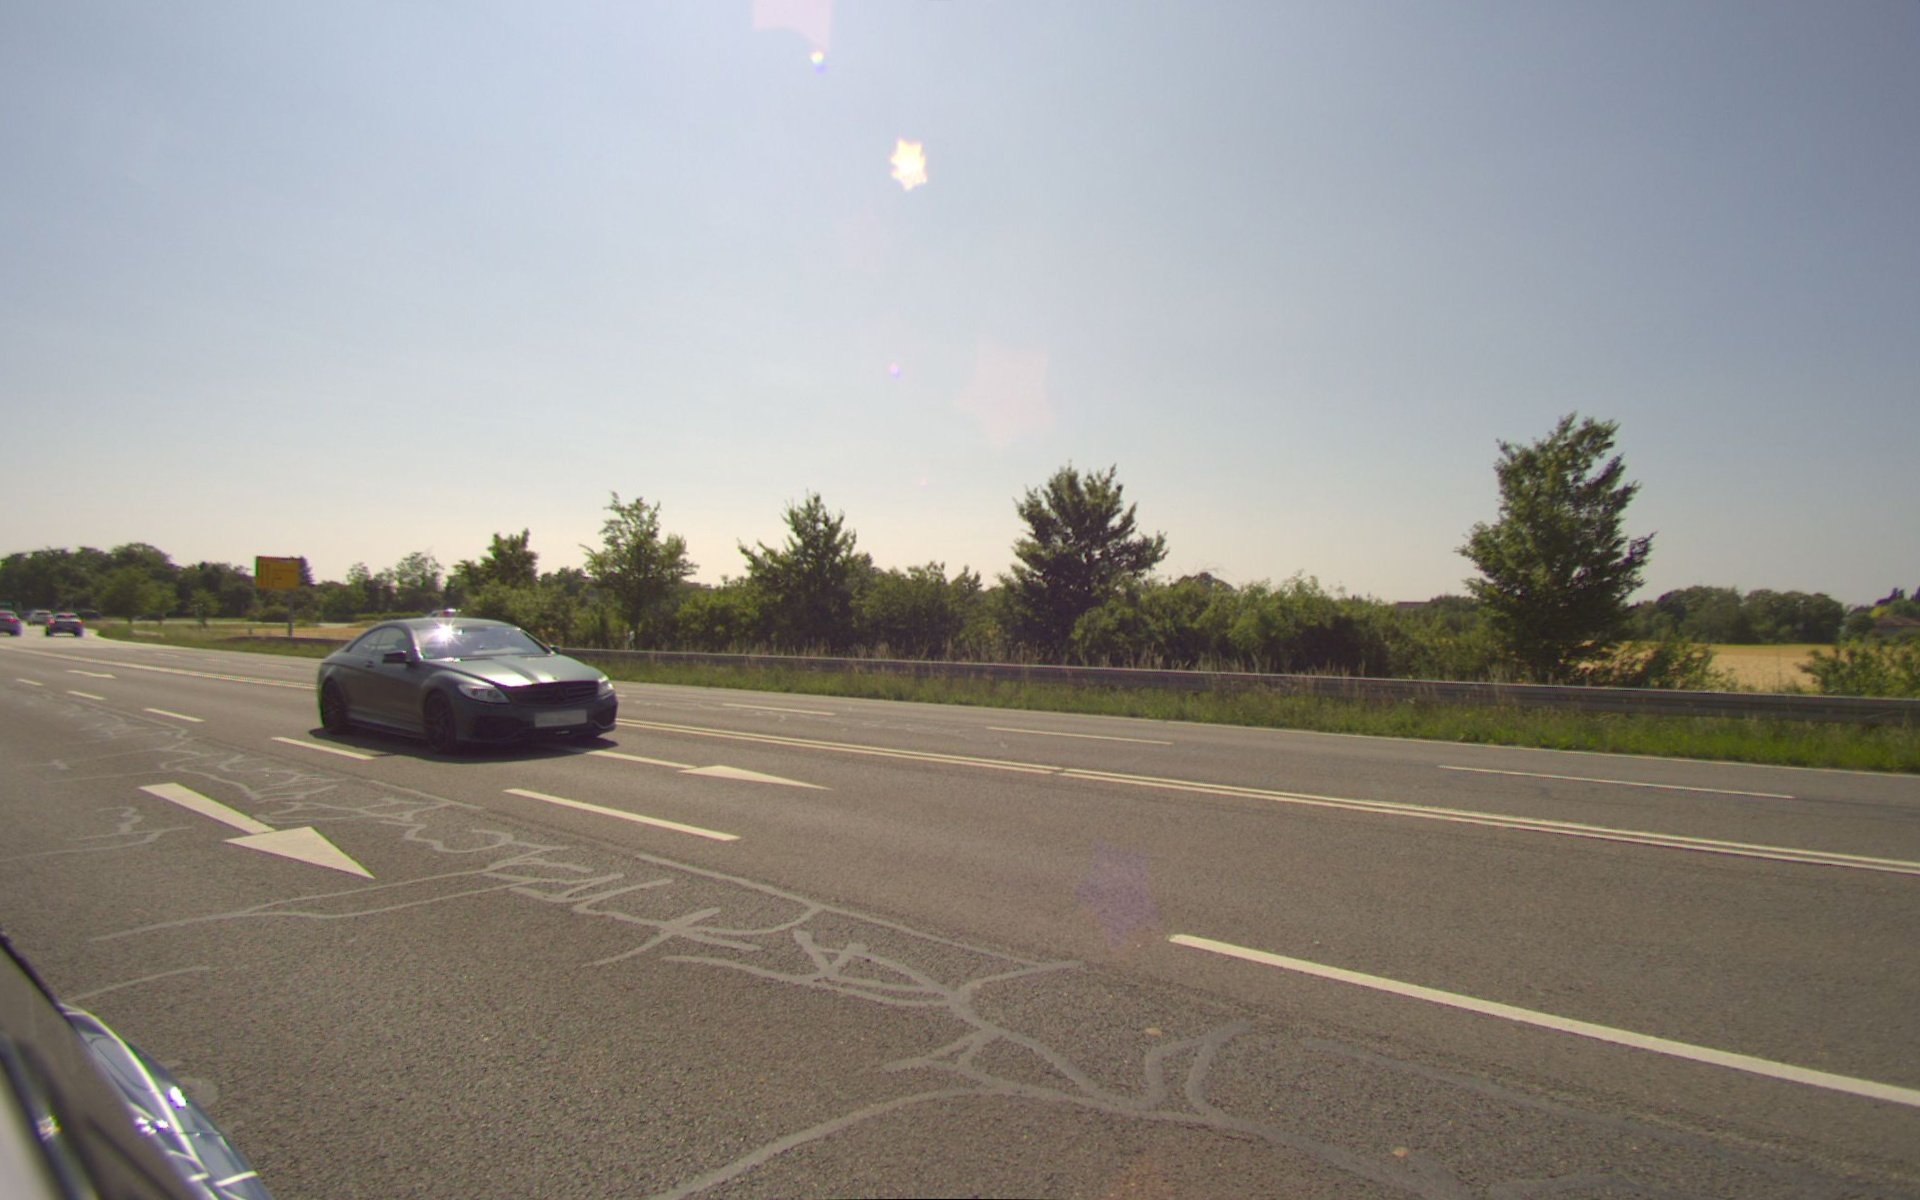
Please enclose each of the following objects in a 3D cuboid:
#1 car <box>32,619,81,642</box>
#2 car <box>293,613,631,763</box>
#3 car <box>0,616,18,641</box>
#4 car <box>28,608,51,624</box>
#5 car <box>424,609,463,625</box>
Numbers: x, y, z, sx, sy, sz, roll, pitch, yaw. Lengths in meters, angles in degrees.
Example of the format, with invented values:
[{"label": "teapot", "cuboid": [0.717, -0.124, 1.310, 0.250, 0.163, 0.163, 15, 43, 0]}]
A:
[{"label": "car", "cuboid": [-61.714, 2.065, 69.131, 4.123, 1.519, 1.801, -1, -4, 39]}, {"label": "car", "cuboid": [-6.141, 0.903, 12.198, 4.872, 1.461, 1.793, -1, -1, 39]}, {"label": "car", "cuboid": [-63.367, 1.838, 66.244, 4.871, 1.599, 1.821, -1, -4, 40]}, {"label": "car", "cuboid": [-102.027, 1.826, 112.192, 1.646, 1.689, 4.465, 4, -4, -45]}, {"label": "car", "cuboid": [-96.657, 3.182, 189.344, 6.284, 2.931, 2.003, 0, 0, -42]}]
